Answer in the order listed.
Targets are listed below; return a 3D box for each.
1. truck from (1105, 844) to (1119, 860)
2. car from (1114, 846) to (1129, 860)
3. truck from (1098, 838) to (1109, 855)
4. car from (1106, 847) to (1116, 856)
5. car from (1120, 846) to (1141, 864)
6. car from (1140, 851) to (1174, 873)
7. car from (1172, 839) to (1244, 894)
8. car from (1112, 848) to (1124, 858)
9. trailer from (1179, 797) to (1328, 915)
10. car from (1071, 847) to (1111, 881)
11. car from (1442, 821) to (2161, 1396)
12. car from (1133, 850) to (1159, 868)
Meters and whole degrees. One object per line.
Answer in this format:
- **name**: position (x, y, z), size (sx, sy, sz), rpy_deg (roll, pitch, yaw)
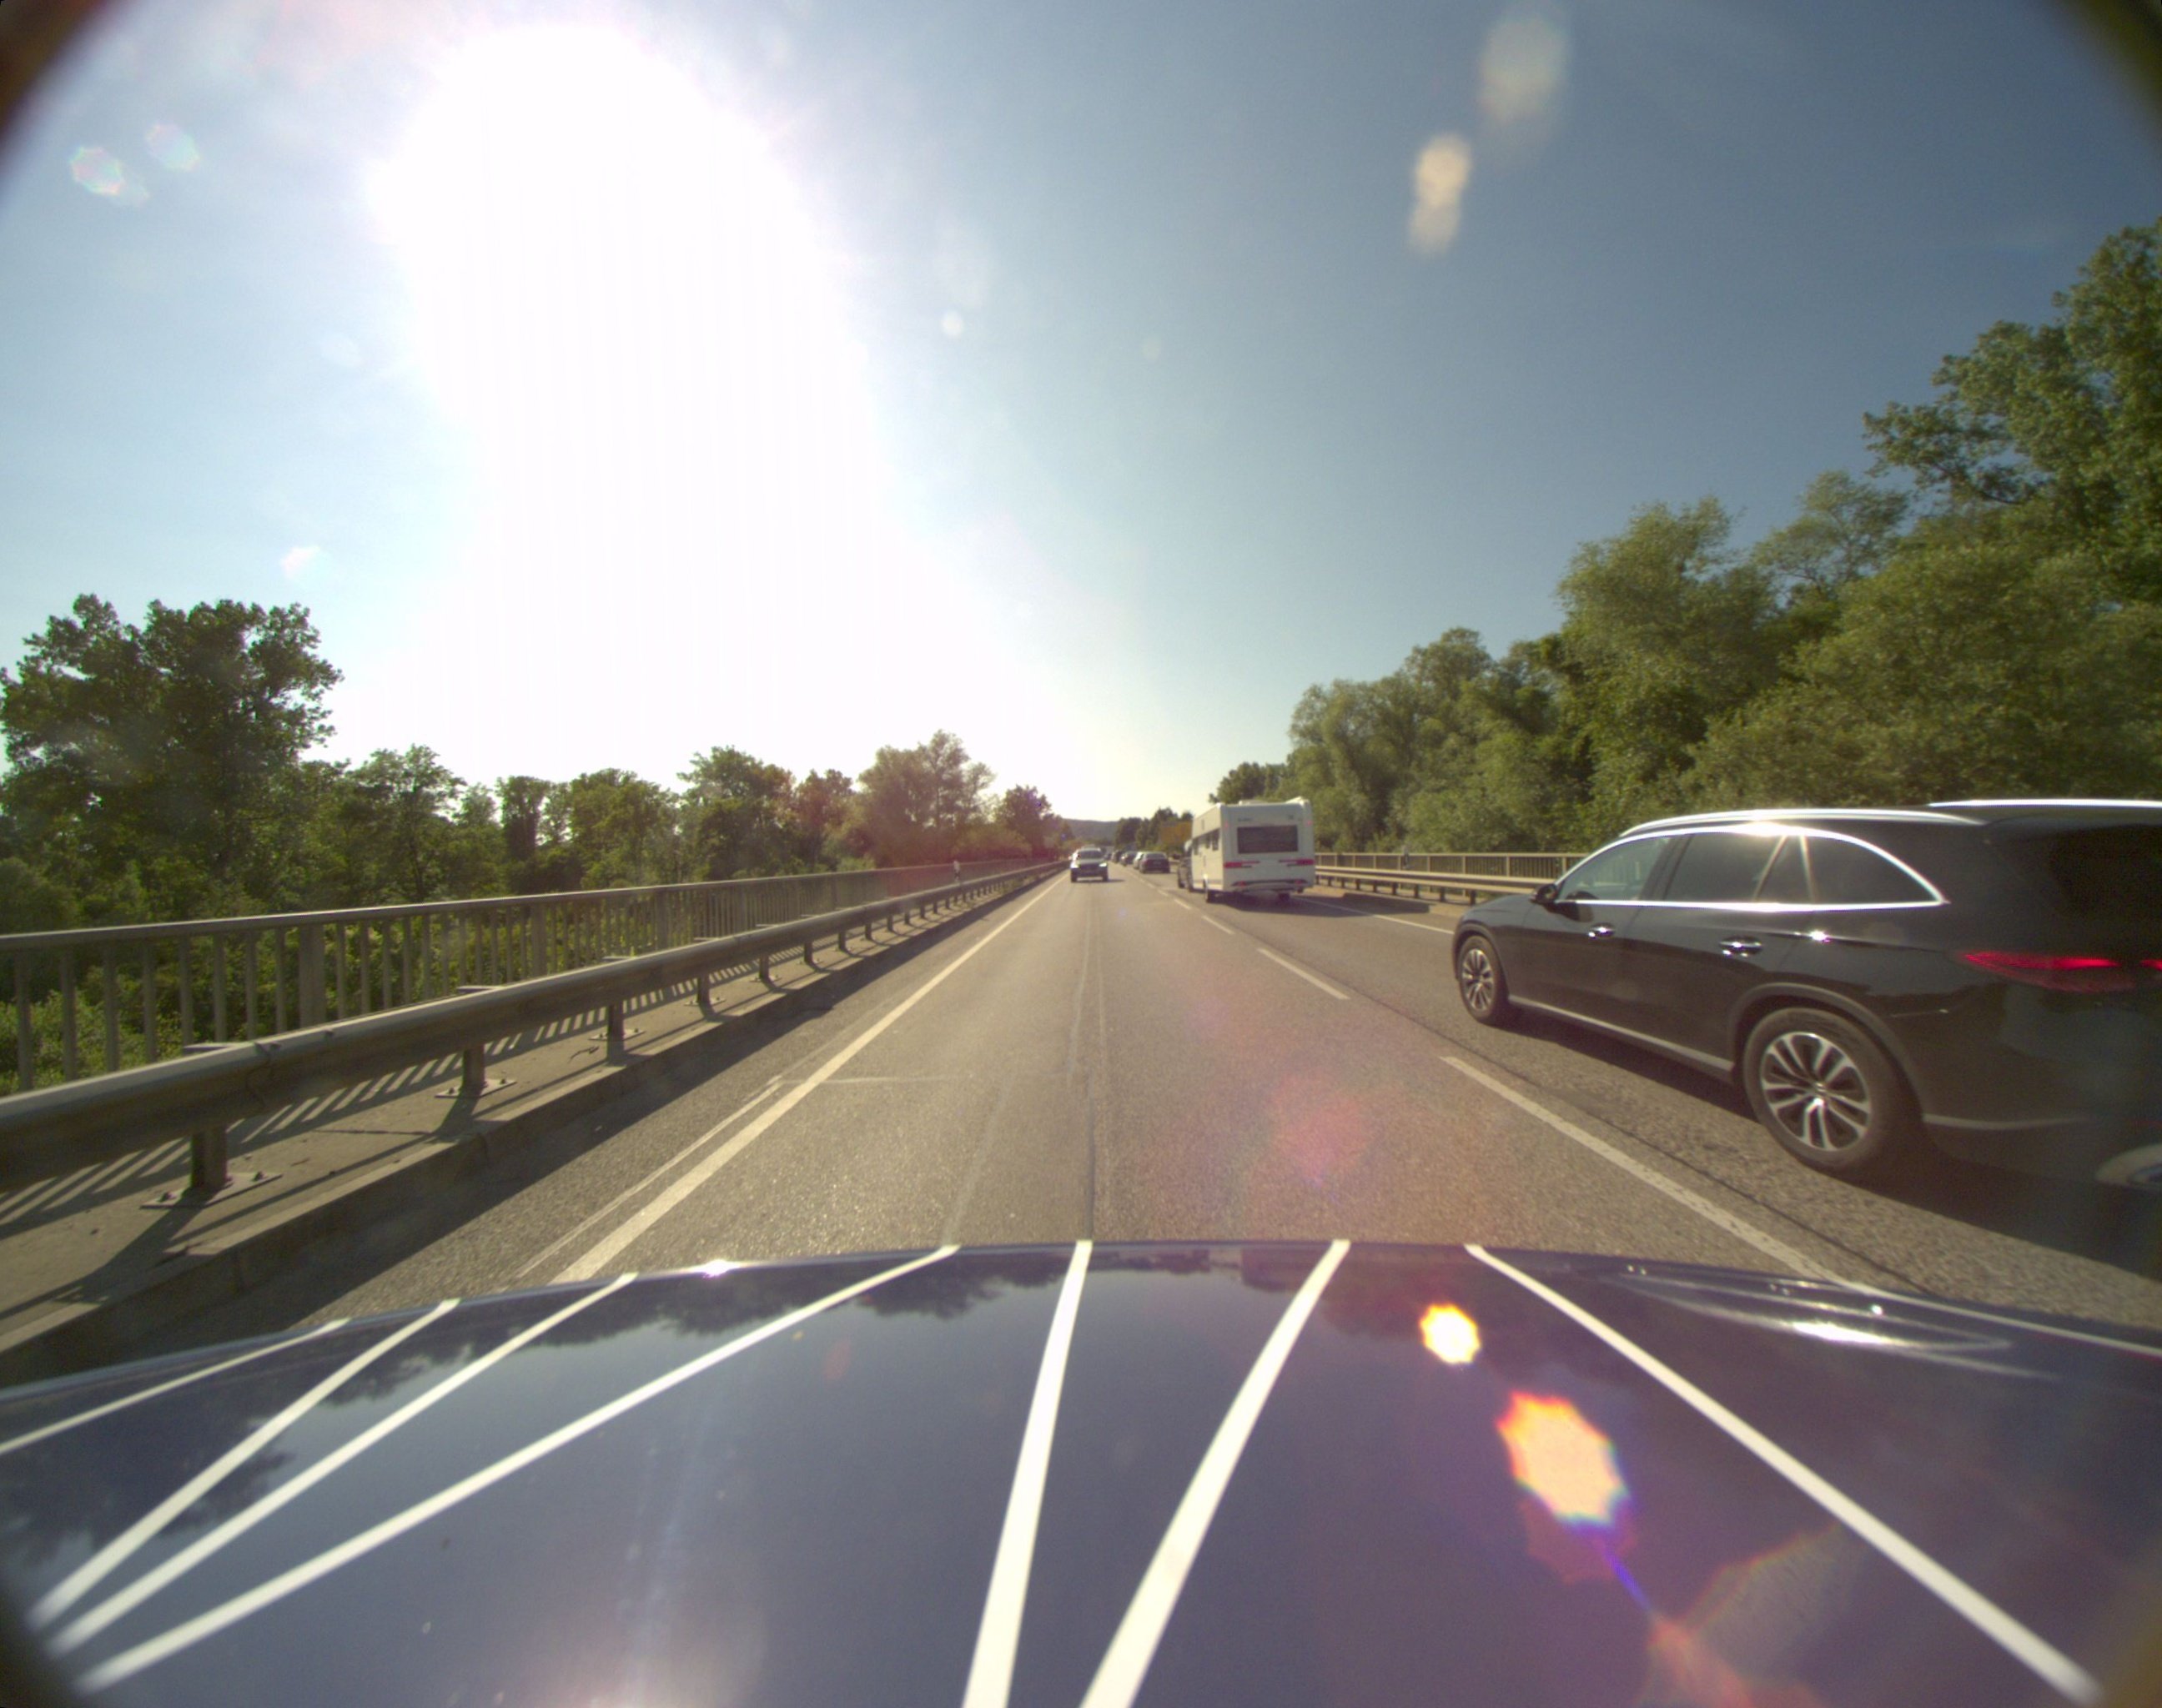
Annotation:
- **truck**: position (6.617, -0.470, 163.485), size (2.620, 3.235, 6.967), rpy_deg (-2, 0, 1)
- **car**: position (5.737, -0.117, 107.705), size (1.972, 1.796, 4.530), rpy_deg (-3, 0, 2)
- **truck**: position (5.997, -1.935, 201.127), size (2.744, 4.303, 8.130), rpy_deg (-2, 0, 1)
- **car**: position (5.874, -0.418, 147.070), size (1.743, 1.655, 4.046), rpy_deg (-2, 0, 1)
- **car**: position (5.145, 0.055, 79.597), size (1.972, 1.796, 4.530), rpy_deg (-2, 1, 2)
- **car**: position (5.122, 0.505, 51.793), size (1.791, 1.412, 4.650), rpy_deg (-1, 0, -1)
- **car**: position (4.688, 0.403, 28.692), size (1.988, 1.843, 5.008), rpy_deg (-2, 1, 2)
- **car**: position (6.114, -0.108, 125.239), size (1.824, 1.537, 4.061), rpy_deg (-3, 0, 1)
- **trailer**: position (4.658, 0.021, 22.225), size (2.561, 2.721, 8.062), rpy_deg (-2, 1, 1)
- **car**: position (0.589, 0.461, 39.580), size (1.871, 1.599, 4.379), rpy_deg (-3, 1, 2)
- **car**: position (3.997, 0.698, 4.284), size (1.807, 1.651, 4.433), rpy_deg (-2, 0, 0)
- **car**: position (5.546, 0.424, 65.108), size (1.736, 1.427, 4.486), rpy_deg (-1, 0, -2)
